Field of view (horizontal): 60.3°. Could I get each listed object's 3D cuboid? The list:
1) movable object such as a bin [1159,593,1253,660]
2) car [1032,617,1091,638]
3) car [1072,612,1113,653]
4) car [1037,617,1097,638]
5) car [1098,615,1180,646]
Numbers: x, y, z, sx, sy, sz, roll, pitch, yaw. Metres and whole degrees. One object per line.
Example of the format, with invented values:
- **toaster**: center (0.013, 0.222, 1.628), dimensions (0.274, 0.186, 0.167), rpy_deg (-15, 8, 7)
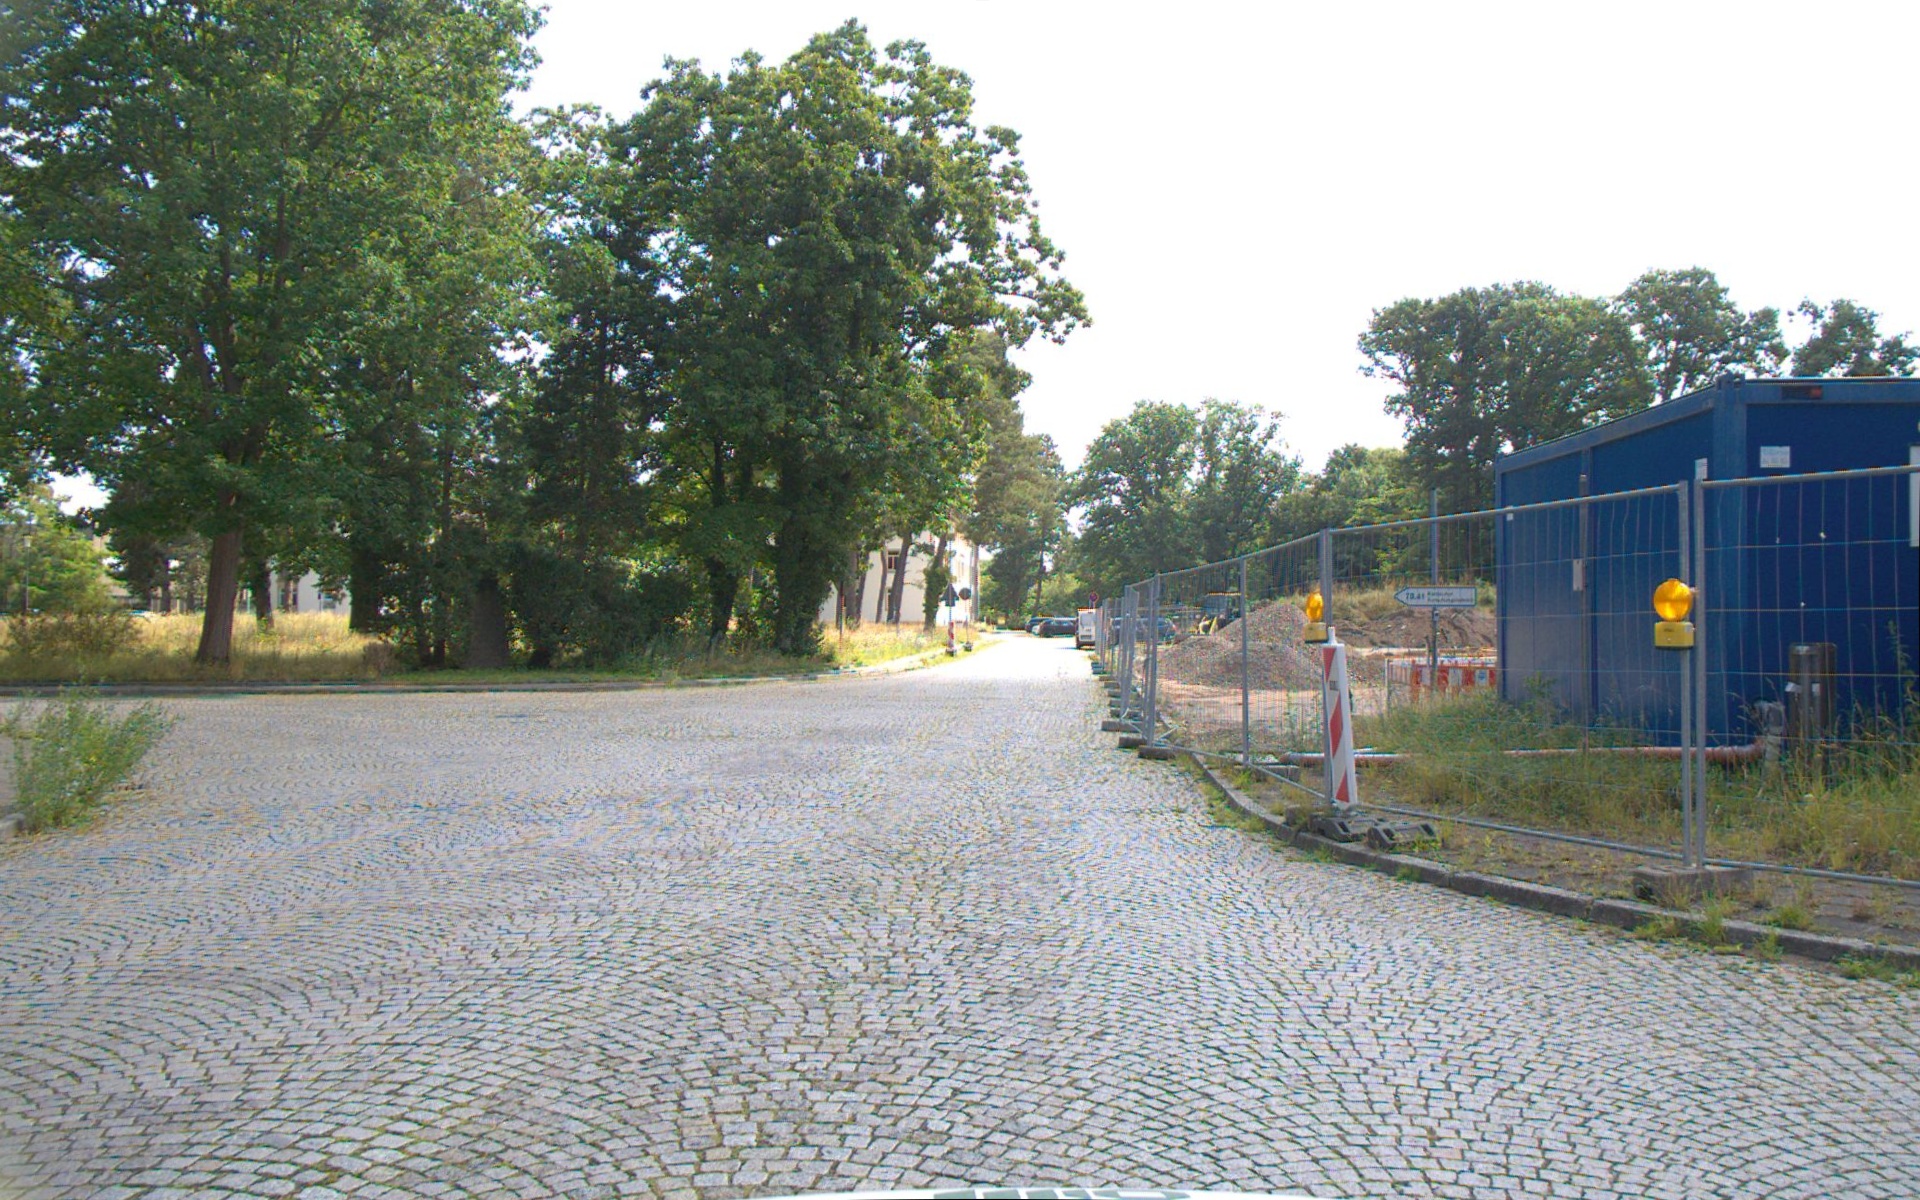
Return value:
- **movable object such as a bin**: center (10.160, 1.067, 67.996), dimensions (2.090, 2.639, 4.778), rpy_deg (0, -1, 32)
- **car**: center (8.388, 2.254, 136.758), dimensions (4.683, 1.669, 1.999), rpy_deg (1, -1, -2)
- **car**: center (6.809, 1.647, 85.388), dimensions (1.952, 2.049, 4.092), rpy_deg (1, -1, 2)
- **car**: center (8.640, 2.233, 133.634), dimensions (4.683, 1.669, 1.999), rpy_deg (1, -1, -2)
- **car**: center (9.851, 1.669, 90.836), dimensions (4.308, 1.537, 2.002), rpy_deg (1, -1, 11)
